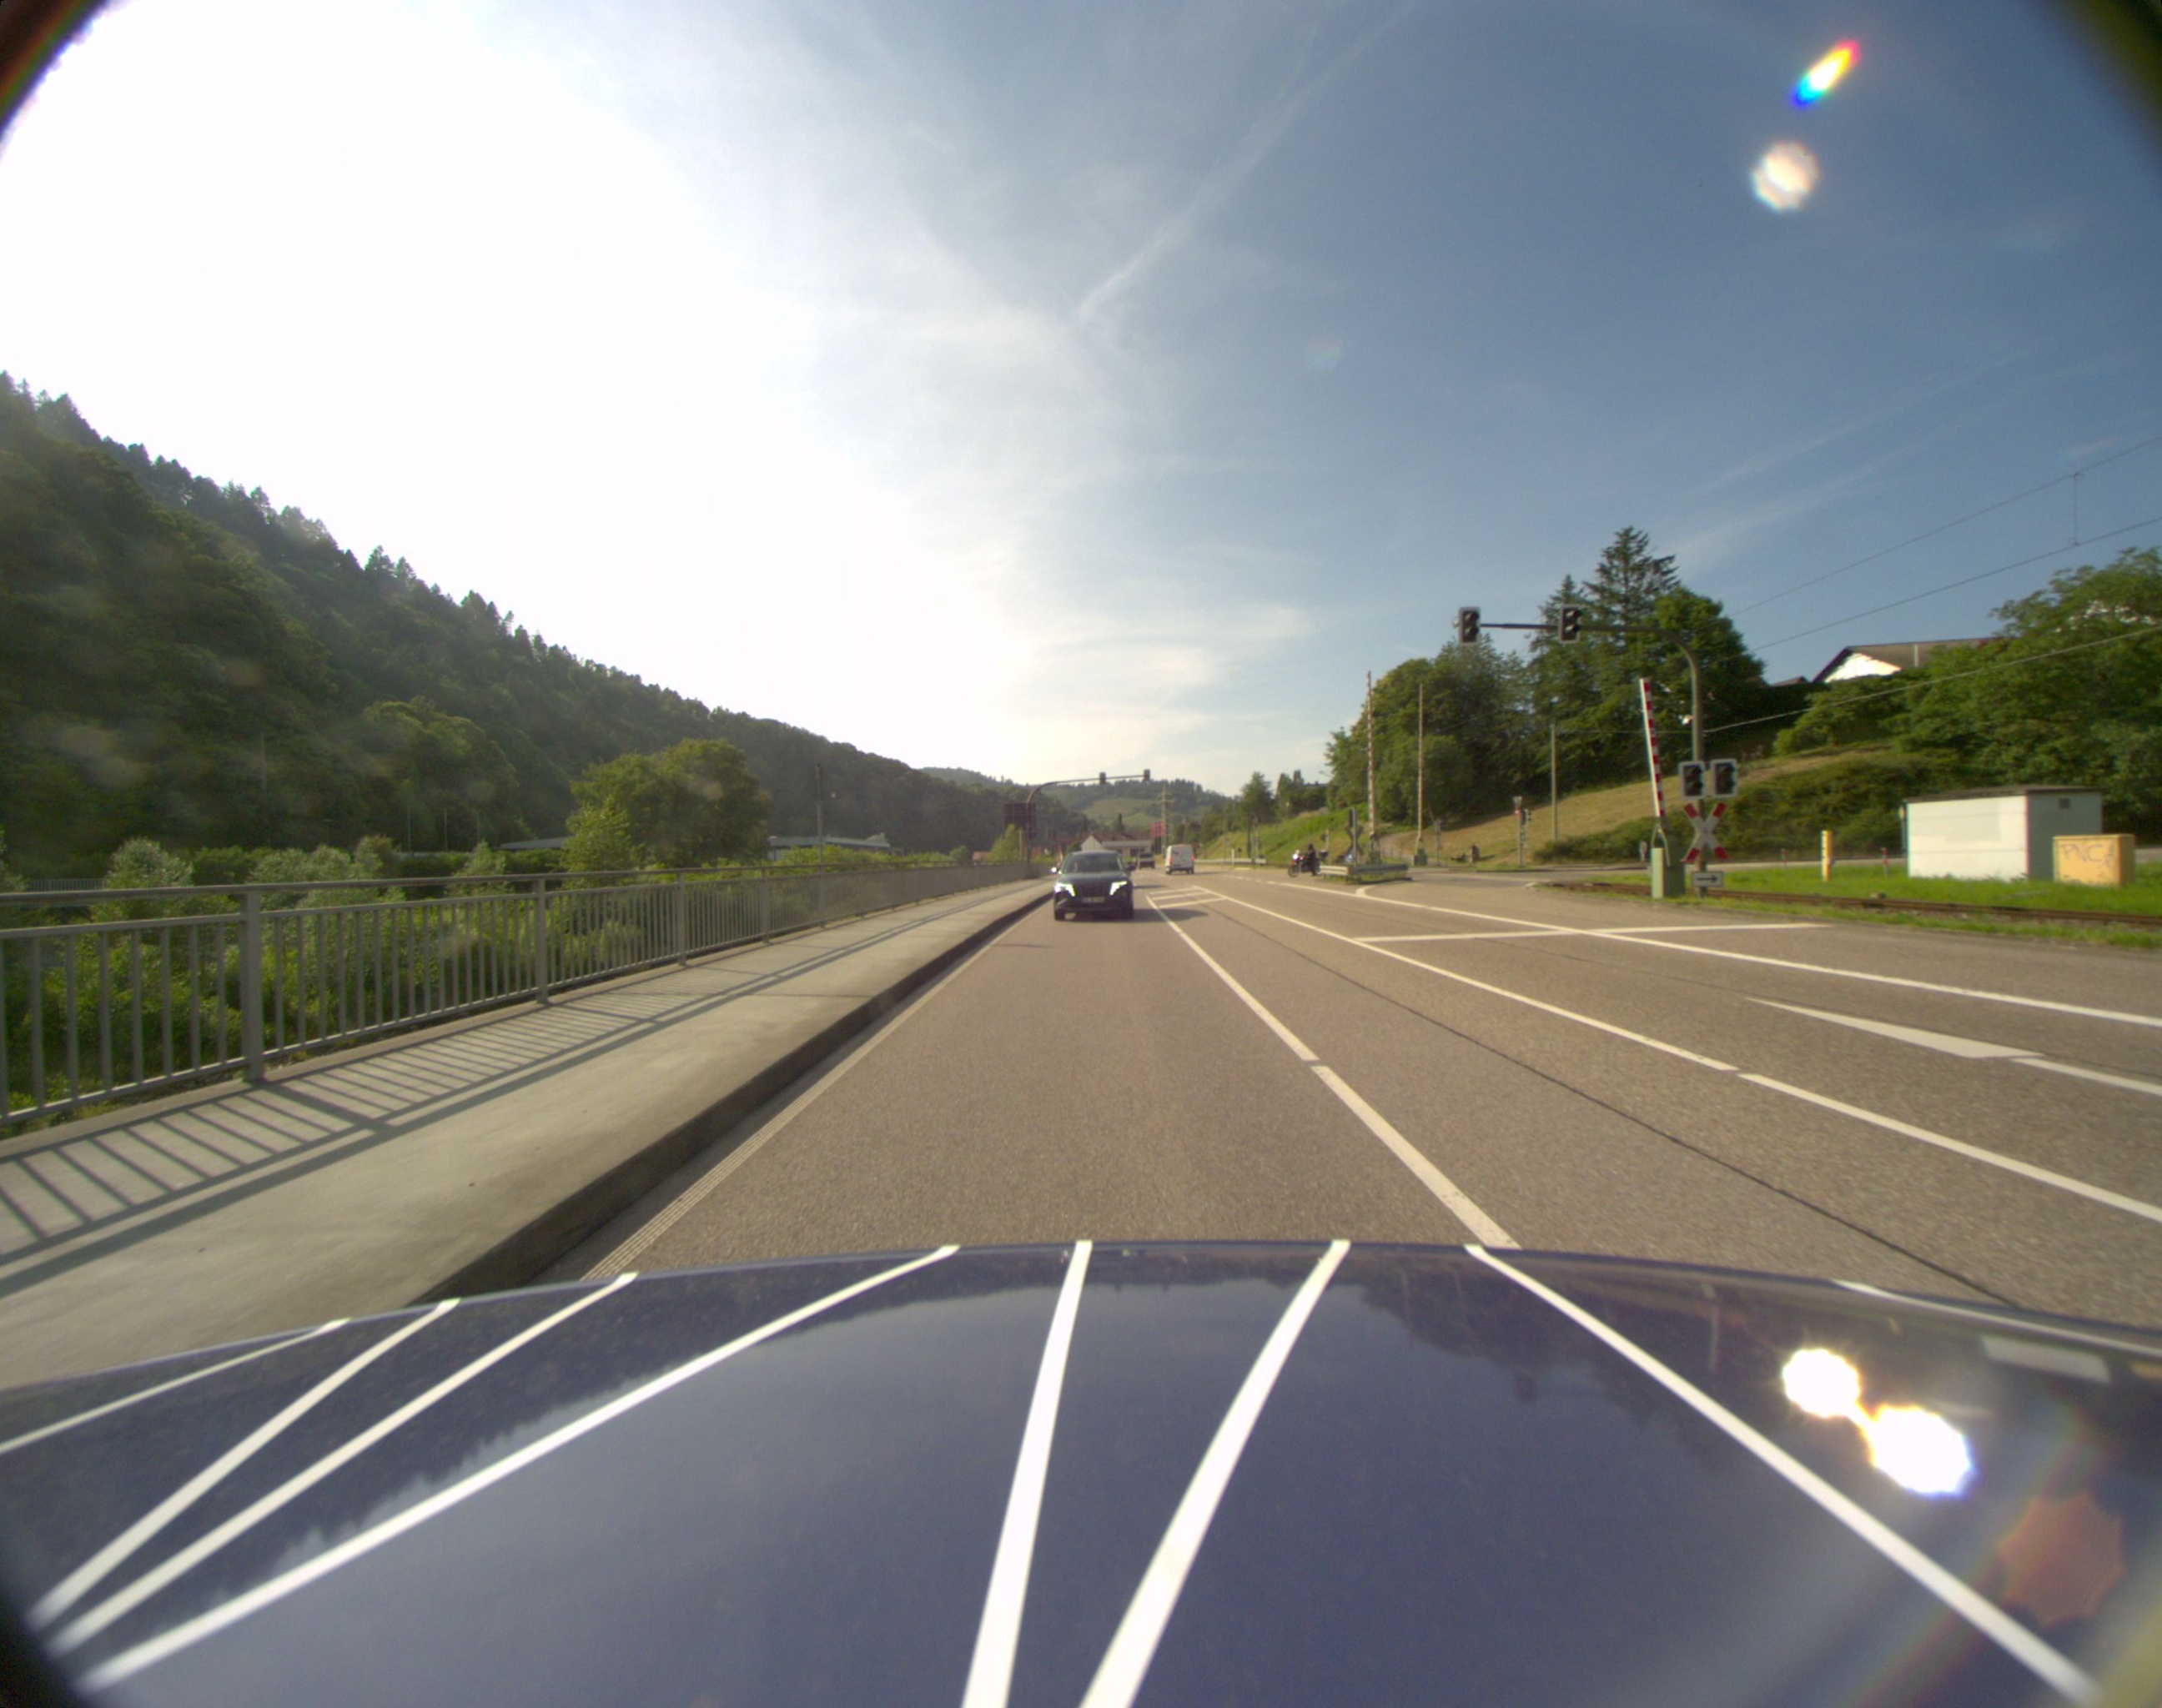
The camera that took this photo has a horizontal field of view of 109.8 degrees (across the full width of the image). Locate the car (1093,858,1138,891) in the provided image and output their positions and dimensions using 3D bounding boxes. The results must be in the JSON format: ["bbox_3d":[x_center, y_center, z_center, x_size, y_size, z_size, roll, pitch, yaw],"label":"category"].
[{"bbox_3d":[1.625,0.962,37.411,1.919,1.455,3.999,-2,0,-1],"label":"car"}]

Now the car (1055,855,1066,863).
[{"bbox_3d":[-5.186,1.297,193.468,2.001,2.002,3.996,-4,0,-13],"label":"car"}]

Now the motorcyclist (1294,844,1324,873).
[{"bbox_3d":[12.560,0.240,41.879,1.186,1.535,0.991,-4,1,-12],"label":"motorcyclist"}]

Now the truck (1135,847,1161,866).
[{"bbox_3d":[8.755,0.357,99.708,2.453,2.252,6.279,-3,0,-2],"label":"truck"}]

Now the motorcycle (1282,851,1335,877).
[{"bbox_3d":[12.511,0.555,41.869,2.594,1.261,1.004,-3,0,-13],"label":"motorcycle"}]

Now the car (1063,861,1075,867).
[{"bbox_3d":[-2.883,2.378,180.608,2.001,1.433,3.995,-4,0,-16],"label":"car"}]

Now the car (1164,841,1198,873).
[{"bbox_3d":[8.096,0.276,61.960,2.124,2.422,5.229,-3,0,2],"label":"car"}]

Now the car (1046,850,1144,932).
[{"bbox_3d":[0.434,0.749,18.333,1.998,1.661,5.511,0,0,3],"label":"car"}]
